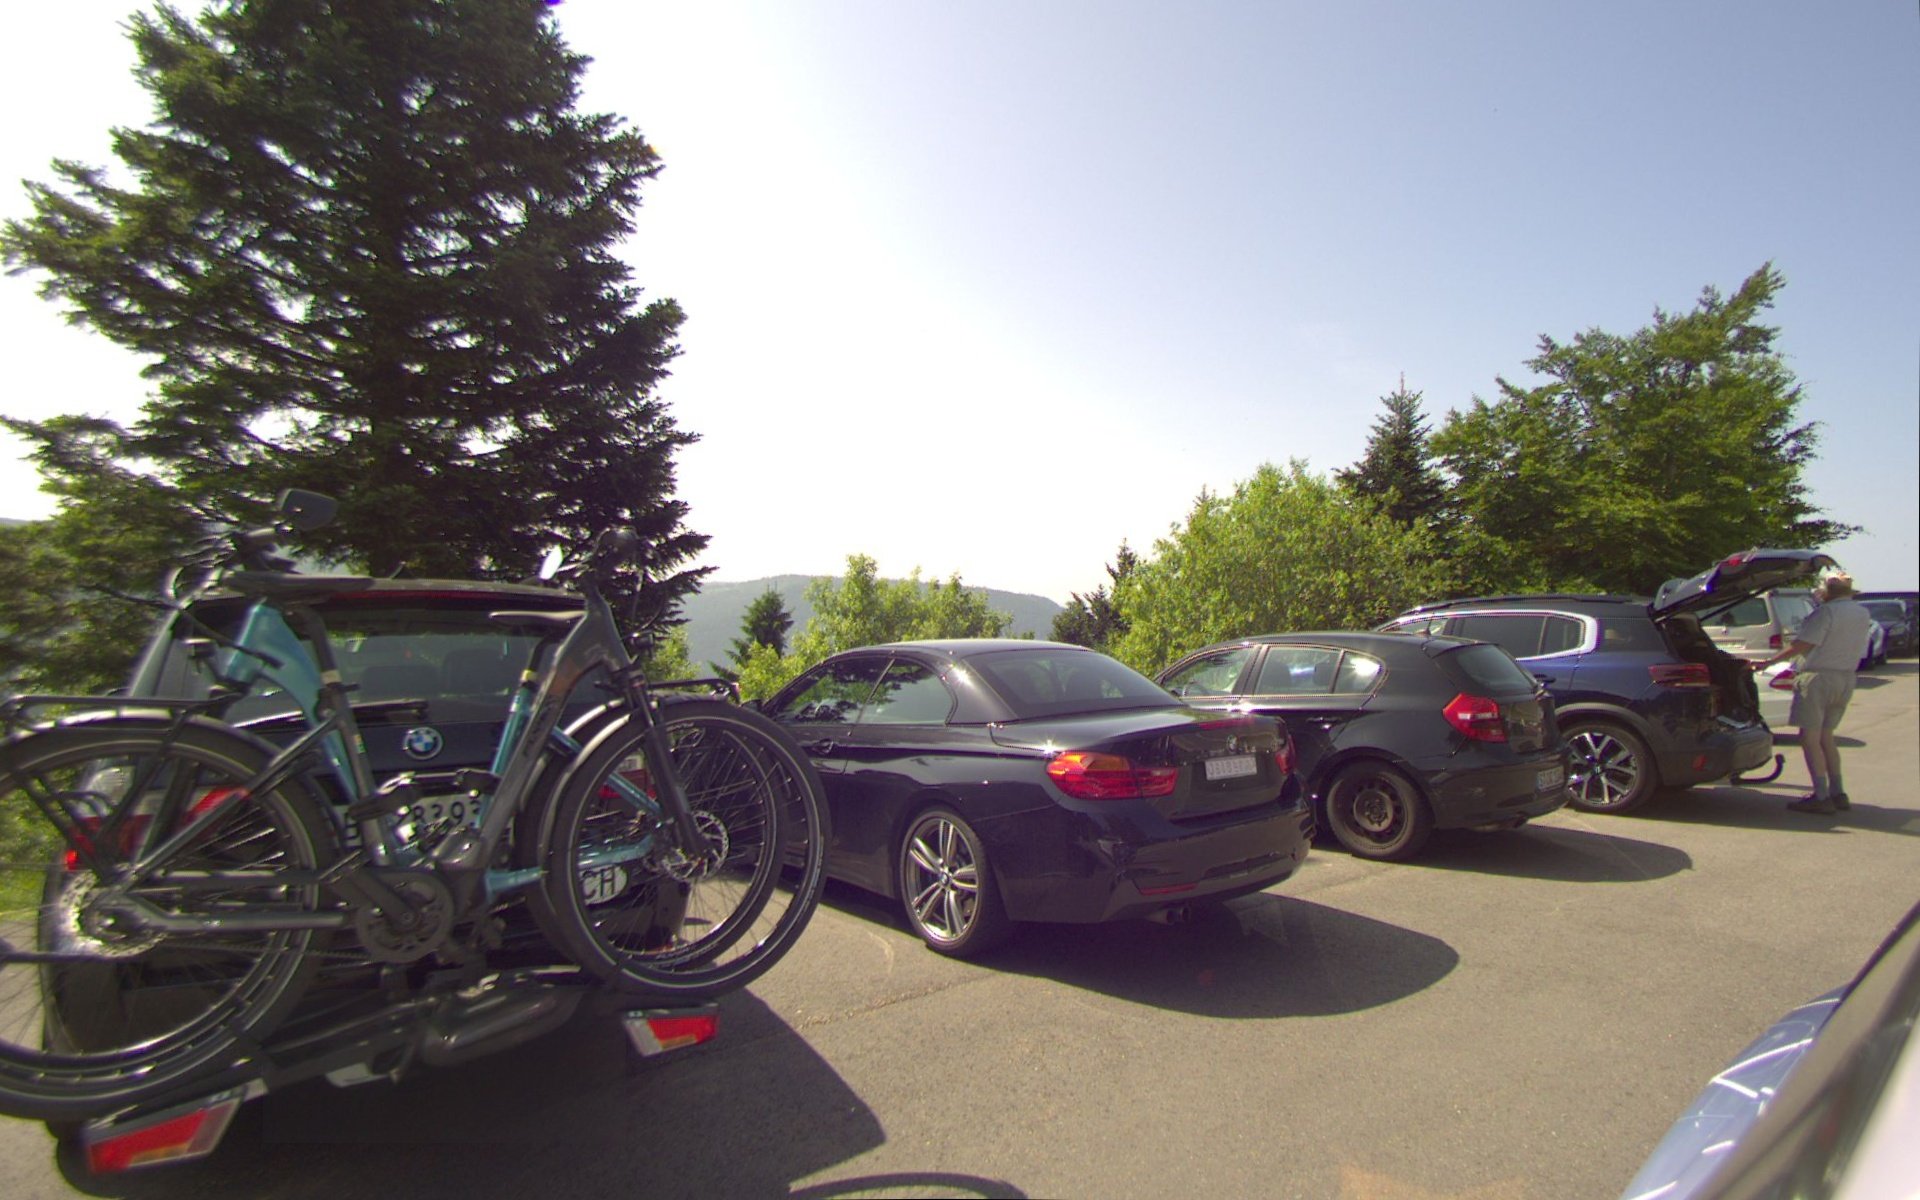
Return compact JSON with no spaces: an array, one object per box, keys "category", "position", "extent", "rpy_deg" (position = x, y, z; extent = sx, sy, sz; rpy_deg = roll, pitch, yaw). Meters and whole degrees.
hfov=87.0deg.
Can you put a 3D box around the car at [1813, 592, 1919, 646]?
[{"category":"car","position":[30.100,0.578,32.338],"extent":[3.965,1.639,1.856],"rpy_deg":[-3,-2,30]}]

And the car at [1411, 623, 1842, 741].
[{"category":"car","position":[8.402,1.025,13.203],"extent":[4.378,1.313,1.735],"rpy_deg":[-3,-3,33]}]

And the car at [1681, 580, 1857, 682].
[{"category":"car","position":[17.409,0.637,21.718],"extent":[4.524,1.961,1.861],"rpy_deg":[0,-3,-38]}]

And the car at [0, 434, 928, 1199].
[{"category":"car","position":[-2.168,0.604,3.974],"extent":[1.906,1.717,4.969],"rpy_deg":[0,0,-31]}]

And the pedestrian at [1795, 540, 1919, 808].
[{"category":"pedestrian","position":[6.834,0.544,7.643],"extent":[0.734,1.896,0.746],"rpy_deg":[-2,-4,43]}]

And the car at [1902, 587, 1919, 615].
[{"category":"car","position":[59.222,0.085,60.554],"extent":[1.842,1.635,3.910],"rpy_deg":[0,1,-38]}]

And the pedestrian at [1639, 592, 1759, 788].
[{"category":"pedestrian","position":[6.520,0.761,8.937],"extent":[0.527,1.634,0.714],"rpy_deg":[0,-2,-42]}]

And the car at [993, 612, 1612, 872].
[{"category":"car","position":[2.278,0.852,7.605],"extent":[1.673,1.394,4.085],"rpy_deg":[0,-2,-42]}]

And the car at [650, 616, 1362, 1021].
[{"category":"car","position":[-0.115,0.846,5.684],"extent":[1.672,1.394,4.088],"rpy_deg":[0,-2,-39]}]

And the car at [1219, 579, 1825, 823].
[{"category":"car","position":[4.733,0.792,9.142],"extent":[1.836,1.647,4.352],"rpy_deg":[-1,-3,-39]}]

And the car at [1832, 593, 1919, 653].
[{"category":"car","position":[26.998,0.650,29.479],"extent":[3.931,1.639,1.872],"rpy_deg":[0,-2,-42]}]

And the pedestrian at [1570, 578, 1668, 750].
[{"category":"pedestrian","position":[7.322,0.687,11.244],"extent":[0.733,1.823,0.737],"rpy_deg":[-3,-2,43]}]

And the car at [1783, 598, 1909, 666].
[{"category":"car","position":[22.364,0.769,25.501],"extent":[3.931,1.567,1.872],"rpy_deg":[0,-2,-42]}]
